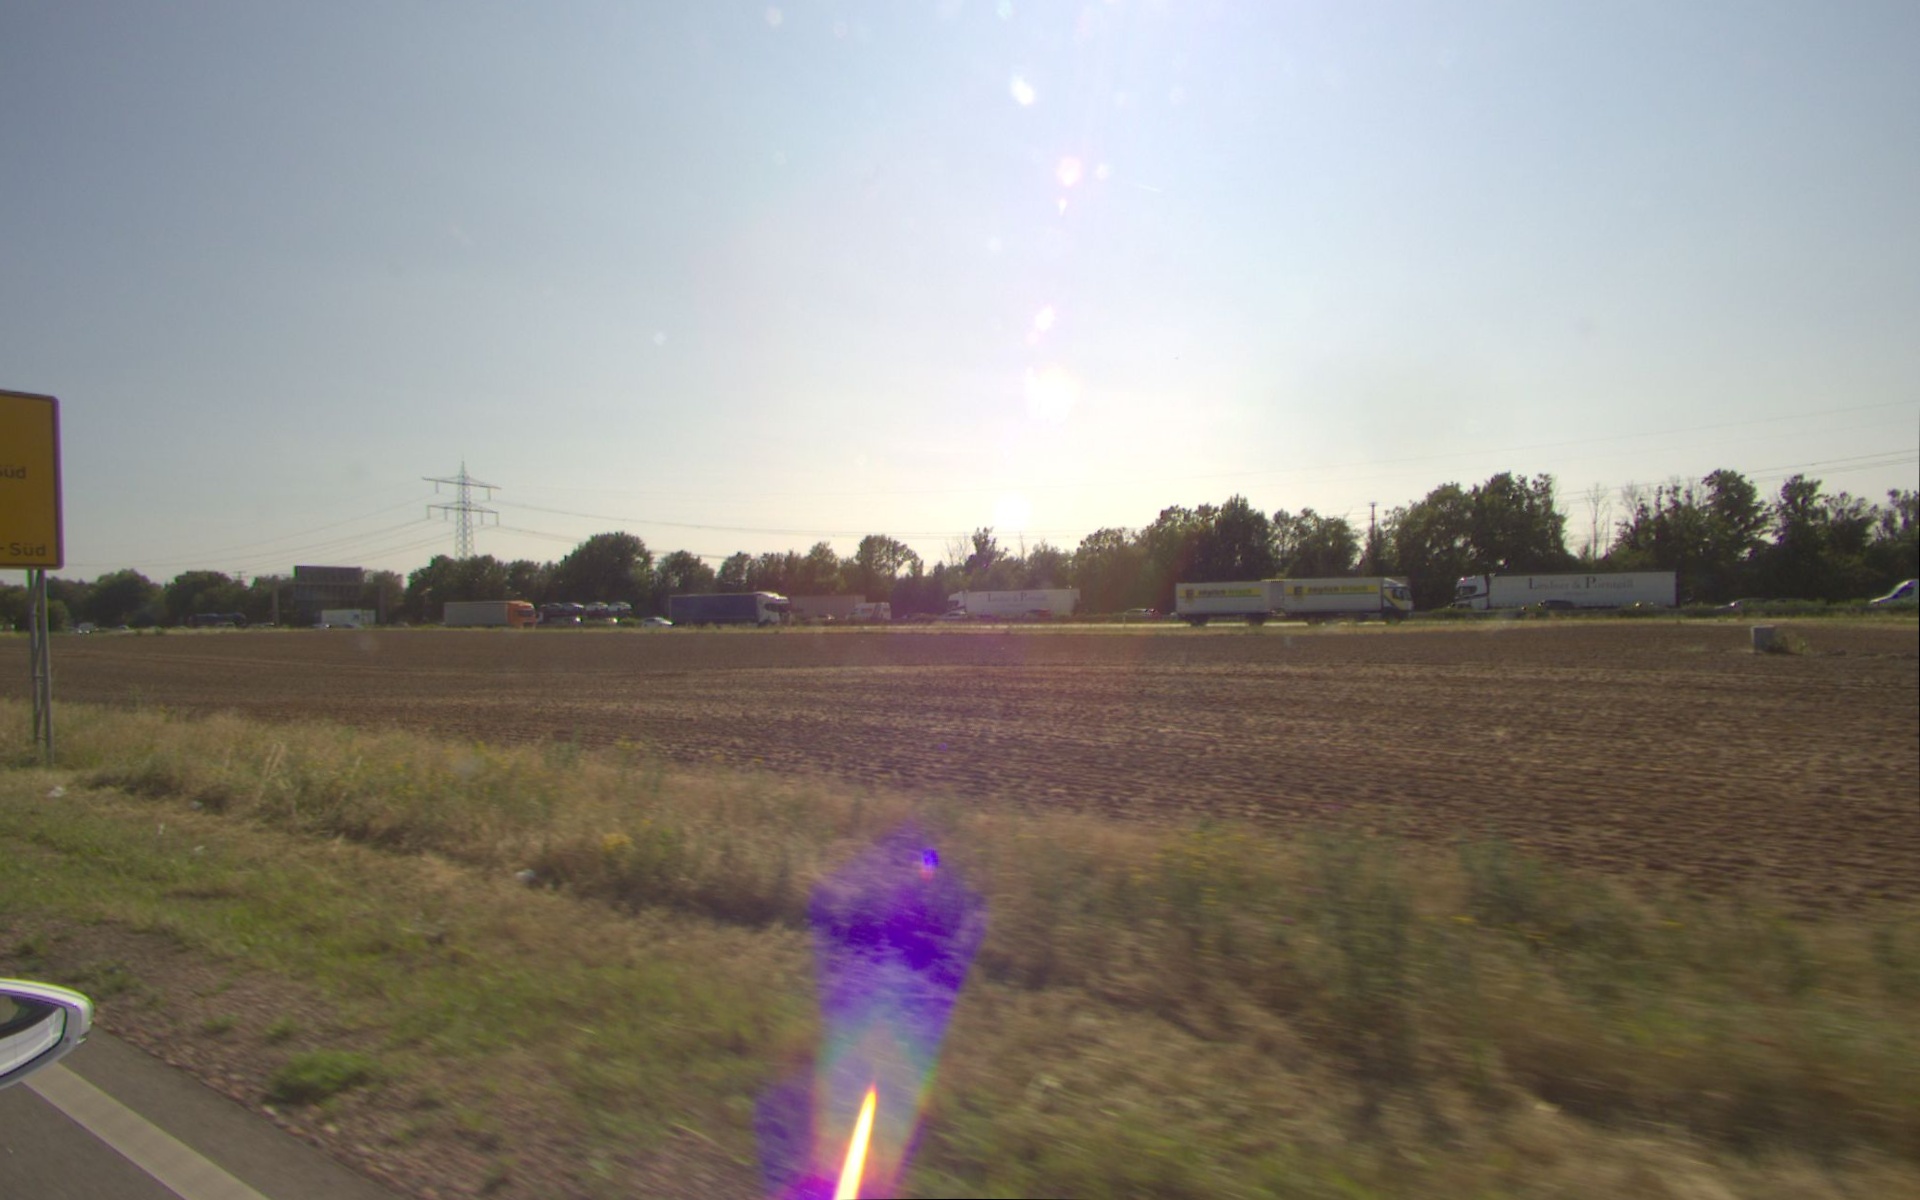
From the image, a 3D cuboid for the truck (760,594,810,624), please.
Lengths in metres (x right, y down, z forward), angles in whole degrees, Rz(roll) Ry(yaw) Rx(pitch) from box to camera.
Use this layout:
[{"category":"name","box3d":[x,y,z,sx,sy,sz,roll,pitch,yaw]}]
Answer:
[{"category":"truck","box3d":[-23.239,1.219,132.973,6.001,3.782,3.065,-1,-1,33]}]

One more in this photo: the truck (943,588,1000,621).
[{"category":"truck","box3d":[1.301,0.612,118.120,6.030,3.782,3.066,-1,-1,32]}]

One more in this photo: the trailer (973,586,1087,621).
[{"category":"trailer","box3d":[7.833,0.475,113.975,13.176,3.782,3.066,-1,-1,32]}]

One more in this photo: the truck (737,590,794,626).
[{"category":"truck","box3d":[-21.473,0.868,110.701,5.526,3.852,3.068,0,0,30]}]

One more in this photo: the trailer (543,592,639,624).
[{"category":"trailer","box3d":[-56.789,1.285,153.700,17.300,4.511,3.416,-1,0,29]}]

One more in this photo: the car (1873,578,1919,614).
[{"category":"car","box3d":[68.988,-0.275,70.725,6.322,2.478,2.034,-1,-1,32]}]

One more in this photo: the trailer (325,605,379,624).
[{"category":"trailer","box3d":[-114.238,2.764,188.115,12.271,3.310,3.279,-1,0,30]}]

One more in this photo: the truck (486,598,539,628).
[{"category":"truck","box3d":[-59.755,1.707,133.686,6.847,3.899,3.099,-1,-1,30]}]

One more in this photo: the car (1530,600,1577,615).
[{"category":"car","box3d":[48.291,0.613,81.479,3.242,1.235,1.339,-1,0,29]}]

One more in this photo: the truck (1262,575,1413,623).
[{"category":"truck","box3d":[29.928,-0.007,79.650,10.957,3.524,2.801,-1,0,31]}]

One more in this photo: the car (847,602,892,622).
[{"category":"car","box3d":[-10.713,1.409,118.117,5.161,2.228,1.902,0,-1,31]}]

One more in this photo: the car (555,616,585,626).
[{"category":"car","box3d":[-56.837,3.037,145.849,4.185,1.403,1.848,0,-1,31]}]

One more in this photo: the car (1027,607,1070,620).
[{"category":"car","box3d":[9.465,1.455,106.848,4.185,1.403,1.848,0,-1,31]}]

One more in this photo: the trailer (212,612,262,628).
[{"category":"trailer","box3d":[-150.632,4.156,208.564,13.252,3.310,3.280,-1,0,30]}]

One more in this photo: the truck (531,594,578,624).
[{"category":"truck","box3d":[-63.951,1.453,157.753,6.605,4.512,3.416,-1,0,29]}]

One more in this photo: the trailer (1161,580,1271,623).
[{"category":"trailer","box3d":[21.611,0.140,84.657,8.590,3.460,2.788,-1,0,31]}]

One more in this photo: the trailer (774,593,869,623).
[{"category":"trailer","box3d":[-17.994,1.106,129.564,13.437,3.782,3.065,-1,-1,33]}]

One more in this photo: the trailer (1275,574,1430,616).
[{"category":"trailer","box3d":[37.547,-0.372,96.184,13.582,3.782,2.940,-1,-1,31]}]

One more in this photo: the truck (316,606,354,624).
[{"category":"truck","box3d":[-119.306,2.881,191.045,6.875,3.310,3.279,-1,0,30]}]

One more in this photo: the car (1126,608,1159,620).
[{"category":"car","box3d":[19.596,1.513,107.508,3.243,1.234,1.339,-1,-2,30]}]

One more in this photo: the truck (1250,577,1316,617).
[{"category":"truck","box3d":[32.092,-0.258,99.502,5.784,3.782,2.941,-1,-1,31]}]

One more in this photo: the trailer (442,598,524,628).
[{"category":"trailer","box3d":[-65.280,1.788,136.880,13.514,3.899,3.099,-1,-1,30]}]

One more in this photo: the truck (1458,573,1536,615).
[{"category":"truck","box3d":[48.018,-0.518,89.539,6.019,3.578,3.197,-1,1,31]}]

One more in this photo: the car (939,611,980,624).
[{"category":"car","box3d":[-0.066,1.935,112.727,4.185,1.403,1.848,0,-1,31]}]

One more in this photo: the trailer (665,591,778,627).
[{"category":"trailer","box3d":[-27.312,0.967,114.063,14.371,3.852,3.068,0,0,30]}]

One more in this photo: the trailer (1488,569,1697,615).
[{"category":"trailer","box3d":[53.851,-0.625,86.002,14.862,3.578,3.196,-1,1,31]}]

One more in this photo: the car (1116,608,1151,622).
[{"category":"car","box3d":[17.621,1.544,101.772,3.242,1.300,1.339,-1,-2,29]}]
